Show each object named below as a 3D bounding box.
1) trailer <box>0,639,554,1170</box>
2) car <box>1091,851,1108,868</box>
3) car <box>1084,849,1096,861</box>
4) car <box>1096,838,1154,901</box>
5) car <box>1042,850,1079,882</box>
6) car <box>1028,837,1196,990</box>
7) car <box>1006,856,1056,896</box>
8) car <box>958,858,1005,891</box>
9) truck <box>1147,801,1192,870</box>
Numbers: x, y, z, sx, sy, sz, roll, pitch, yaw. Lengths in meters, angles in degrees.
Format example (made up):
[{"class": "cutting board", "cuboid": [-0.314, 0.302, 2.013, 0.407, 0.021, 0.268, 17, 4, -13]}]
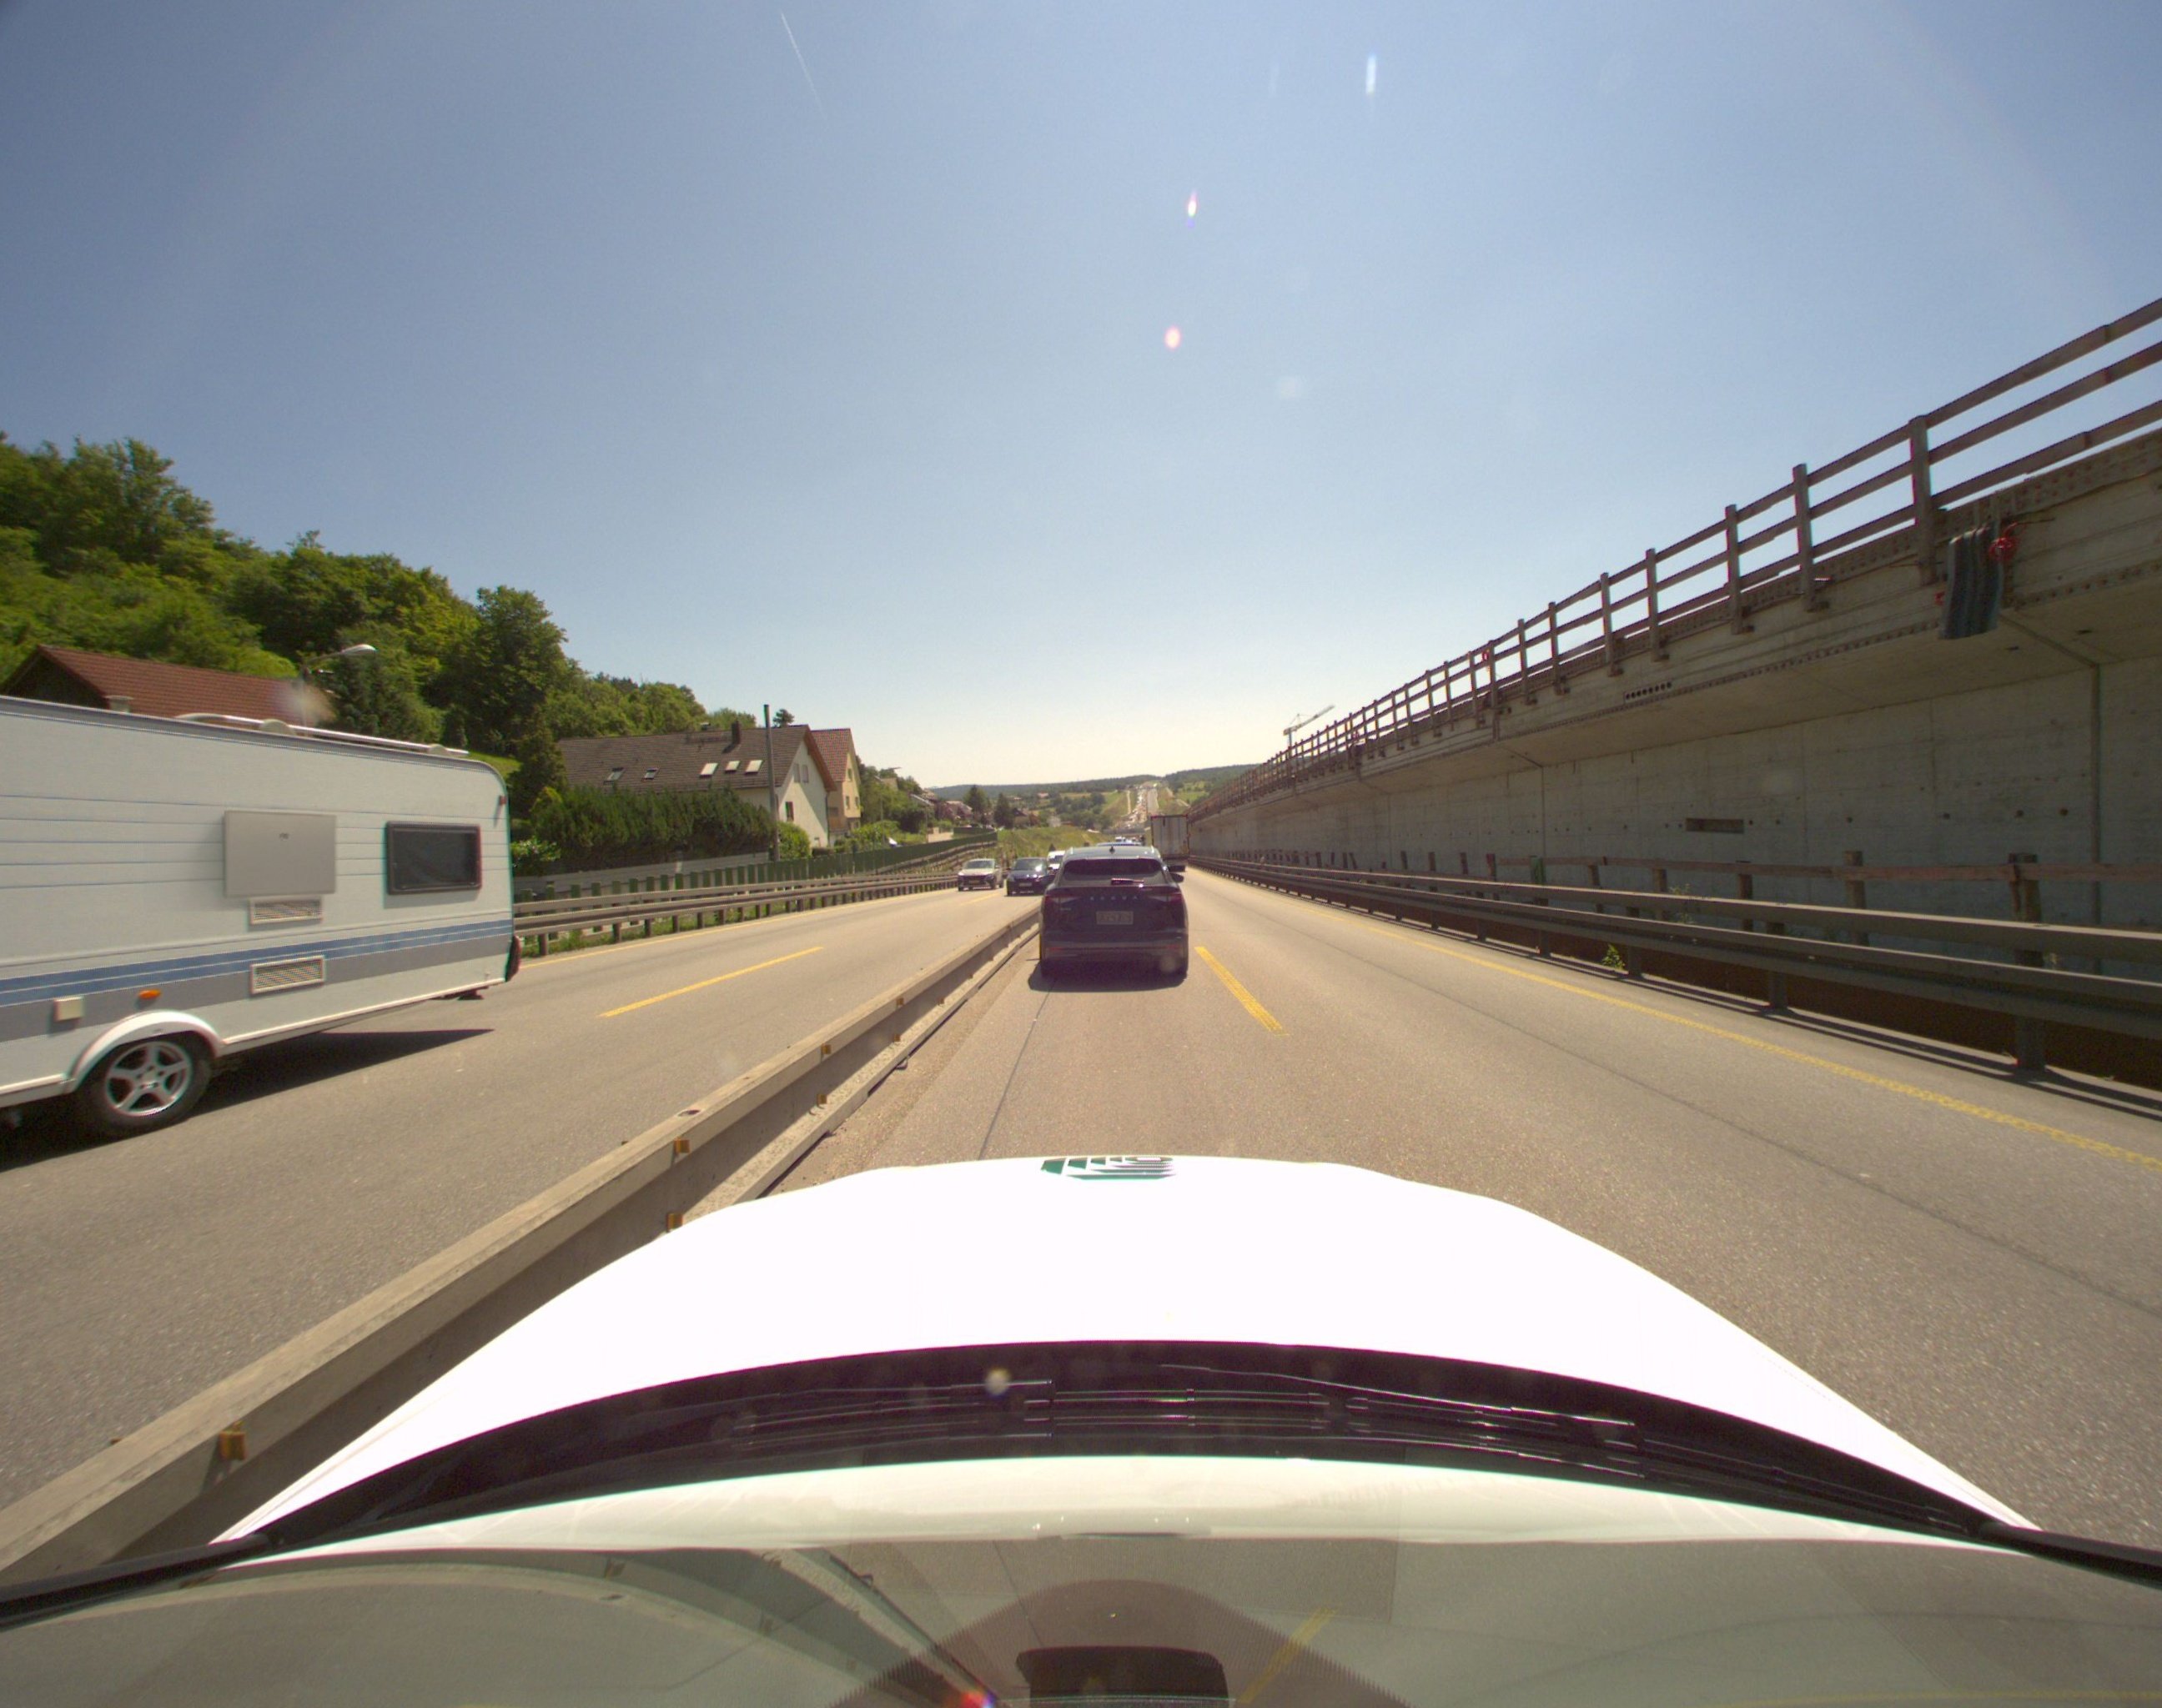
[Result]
[{"class": "trailer", "cuboid": [-6.535, 0.278, 4.814, 2.590, 2.588, 6.243, -1, -1, 2]}, {"class": "car", "cuboid": [2.538, 0.748, 109.456, 1.985, 2.013, 4.973, -3, -1, 3]}, {"class": "car", "cuboid": [1.497, 0.103, 139.433, 1.820, 1.926, 5.239, -2, 0, -2]}, {"class": "car", "cuboid": [1.414, 0.476, 26.995, 1.743, 1.895, 3.757, -2, 0, 2]}, {"class": "car", "cuboid": [-1.126, 0.650, 46.795, 1.802, 1.740, 4.258, -2, 0, 2]}, {"class": "car", "cuboid": [0.443, 0.665, 10.970, 1.775, 1.597, 3.758, -4, 0, 3]}, {"class": "car", "cuboid": [-1.964, 0.826, 32.943, 1.565, 1.461, 4.215, -2, 0, 2]}, {"class": "car", "cuboid": [-4.866, 0.991, 40.318, 1.695, 1.479, 3.976, -2, 0, 2]}, {"class": "truck", "cuboid": [6.578, -1.246, 62.092, 2.833, 4.615, 11.825, -3, -1, 4]}]
